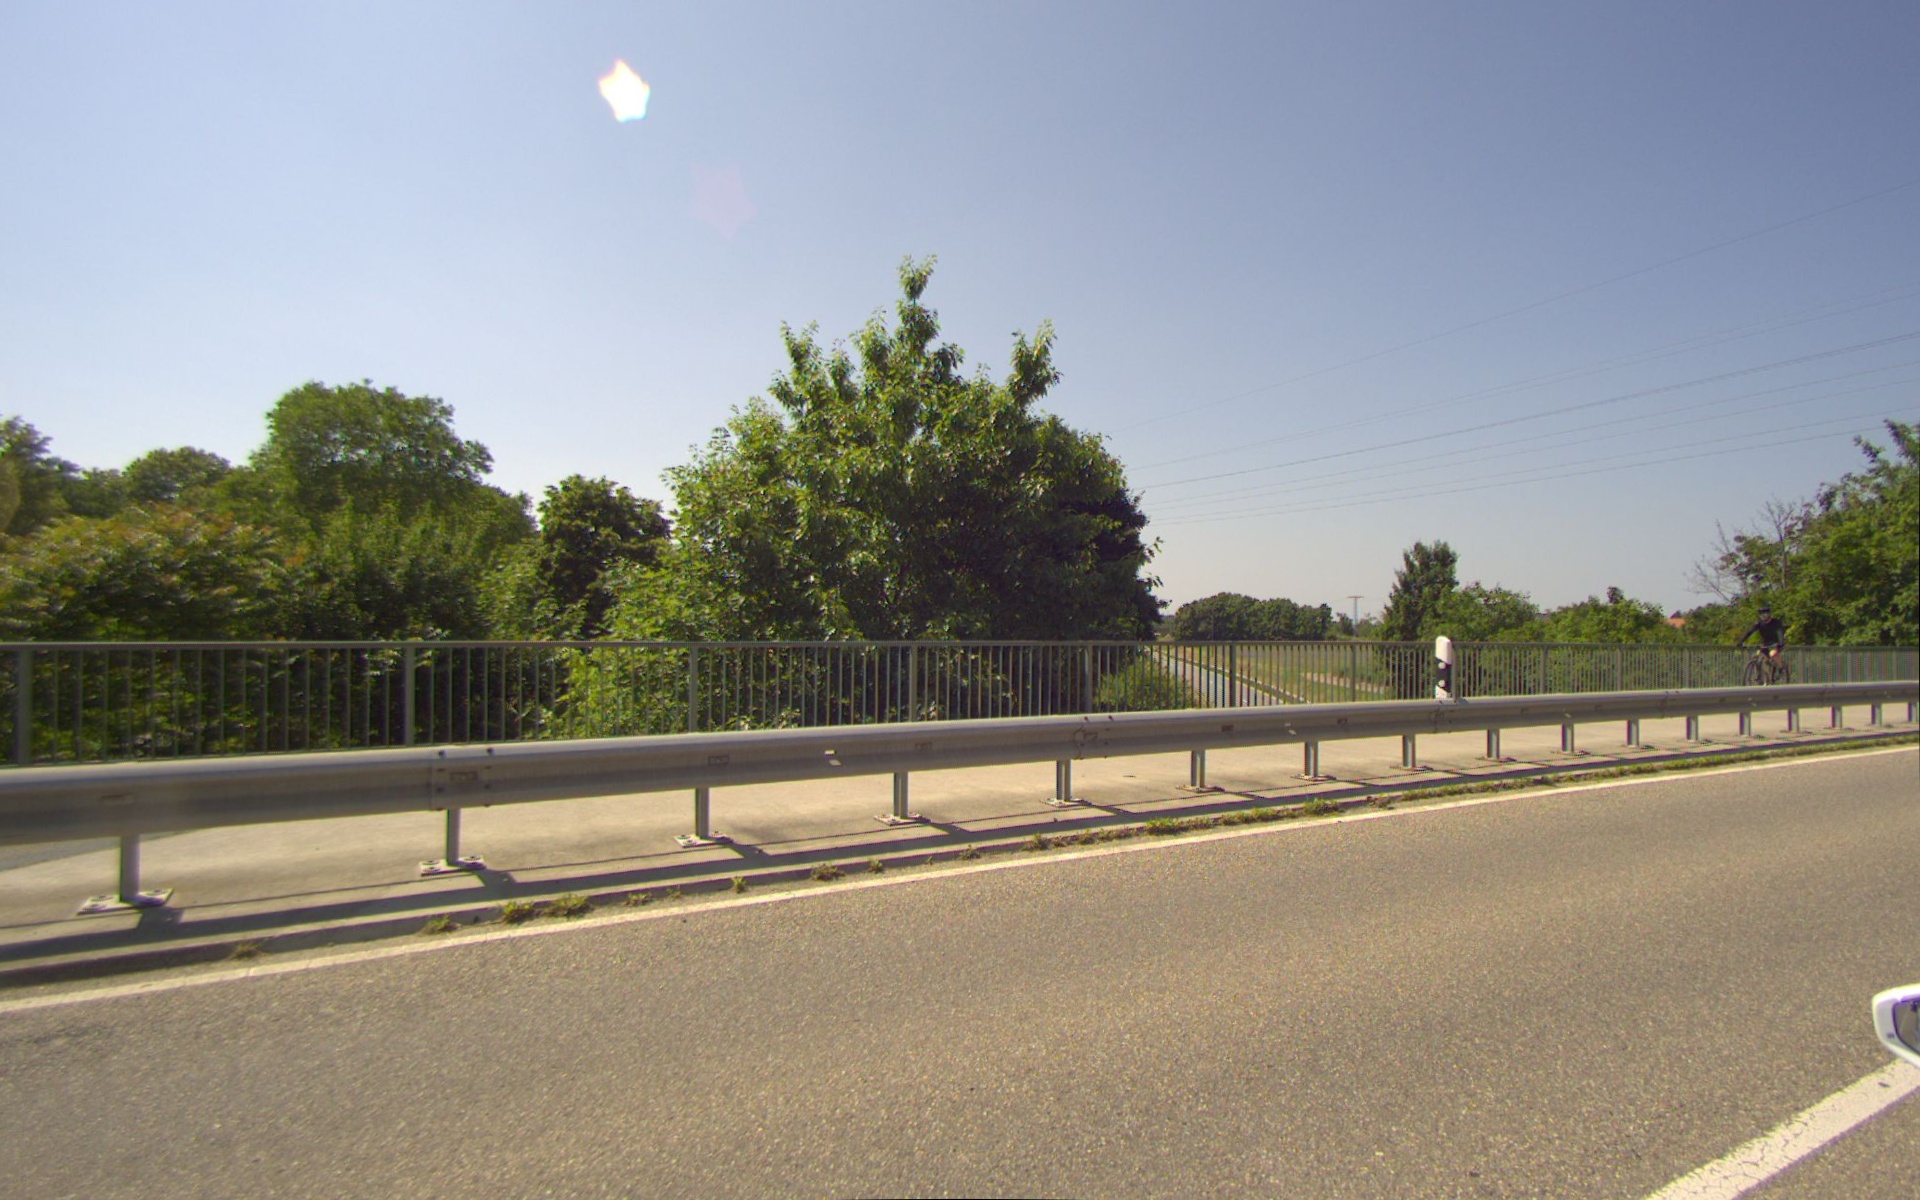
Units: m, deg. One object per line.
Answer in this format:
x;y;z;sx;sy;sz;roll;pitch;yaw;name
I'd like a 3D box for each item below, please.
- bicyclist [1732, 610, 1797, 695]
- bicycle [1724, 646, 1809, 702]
16.032;1.025;20.017;0.885;1.655;0.761;1;0;-32;bicyclist
16.047;1.442;19.970;2.095;1.015;0.673;1;-1;-32;bicycle
